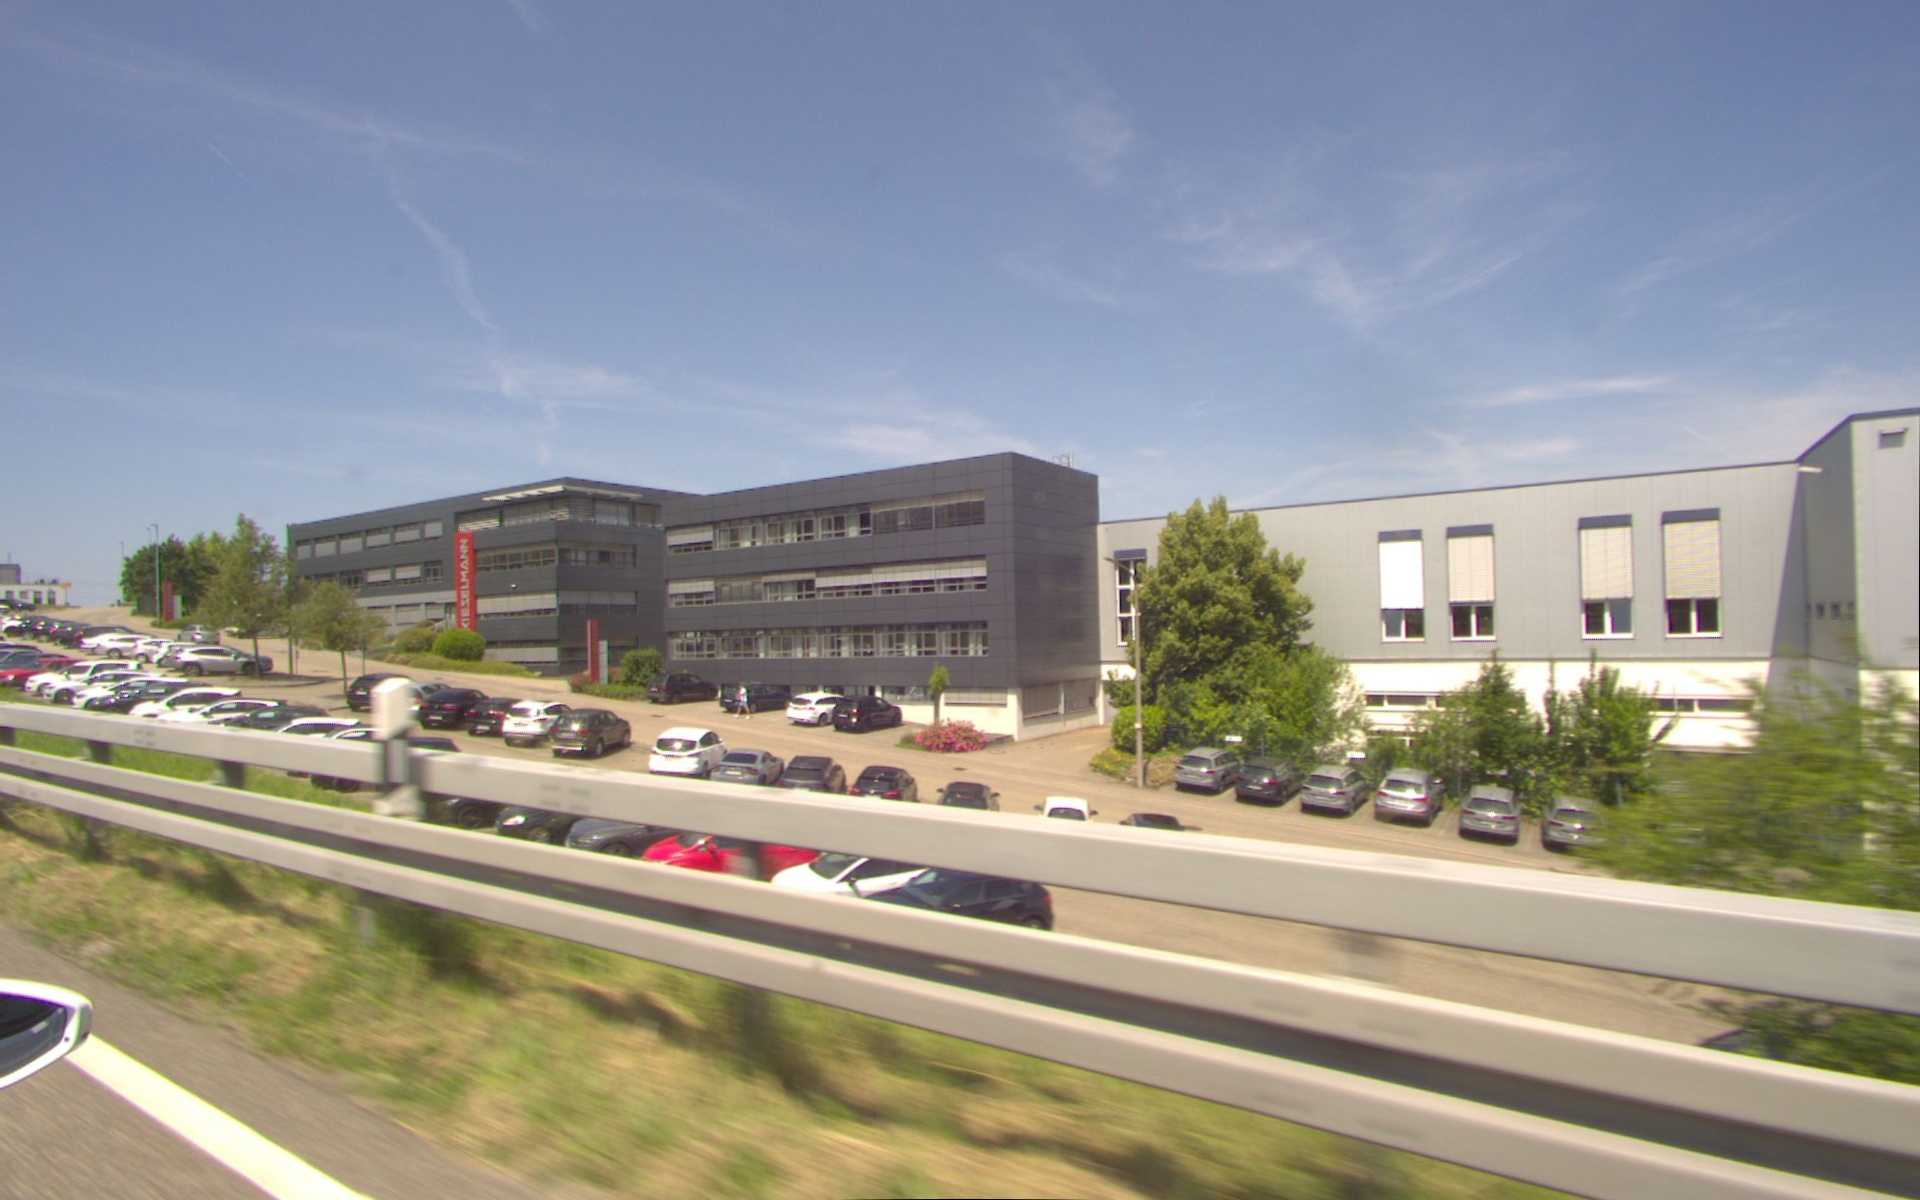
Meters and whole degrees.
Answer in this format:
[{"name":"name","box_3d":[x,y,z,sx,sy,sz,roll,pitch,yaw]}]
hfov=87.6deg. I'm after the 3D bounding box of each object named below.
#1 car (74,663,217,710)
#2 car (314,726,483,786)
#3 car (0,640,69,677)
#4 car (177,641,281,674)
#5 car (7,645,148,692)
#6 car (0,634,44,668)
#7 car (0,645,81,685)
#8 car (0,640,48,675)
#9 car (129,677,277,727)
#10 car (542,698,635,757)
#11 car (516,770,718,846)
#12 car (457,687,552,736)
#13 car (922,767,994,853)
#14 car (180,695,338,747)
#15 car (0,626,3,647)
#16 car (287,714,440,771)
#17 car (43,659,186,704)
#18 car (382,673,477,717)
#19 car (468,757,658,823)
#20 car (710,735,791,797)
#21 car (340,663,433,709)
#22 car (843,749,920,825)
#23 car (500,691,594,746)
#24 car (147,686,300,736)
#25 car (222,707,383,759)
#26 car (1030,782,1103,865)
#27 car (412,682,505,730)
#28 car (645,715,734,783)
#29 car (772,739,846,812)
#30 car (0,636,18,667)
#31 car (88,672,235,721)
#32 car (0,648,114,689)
[{"name":"car","box_3d":[-34.066,3.649,42.054,4.323,1.577,1.877,8,-5,-32]},{"name":"car","box_3d":[-17.188,4.811,30.767,4.324,1.508,1.701,8,-5,-32]},{"name":"car","box_3d":[-47.970,2.971,50.651,1.852,1.705,4.382,5,-4,-2]},{"name":"car","box_3d":[-41.027,3.235,56.306,4.523,1.651,1.810,2,1,-31]},{"name":"car","box_3d":[-39.905,3.132,45.441,4.408,1.705,1.876,8,-5,-34]},{"name":"car","box_3d":[-52.723,2.711,54.224,1.852,1.705,4.383,4,-4,6]},{"name":"car","box_3d":[-45.307,3.116,48.302,1.852,1.705,4.382,5,-4,-2]},{"name":"car","box_3d":[-50.547,2.966,52.233,1.852,1.705,4.382,5,-4,-2]},{"name":"car","box_3d":[-29.459,3.994,39.155,4.323,1.577,1.851,8,-5,-32]},{"name":"car","box_3d":[-14.570,4.970,39.580,1.756,1.681,4.587,5,-1,2]},{"name":"car","box_3d":[-9.009,5.478,26.416,4.664,1.582,1.950,7,-5,-30]},{"name":"car","box_3d":[-19.532,4.754,43.147,1.785,1.533,4.587,5,-1,2]},{"name":"car","box_3d":[0.021,6.164,29.857,1.756,1.560,4.412,5,-1,3]},{"name":"car","box_3d":[-24.930,4.350,35.837,4.318,1.473,1.810,7,-4,-29]},{"name":"car","box_3d":[-58.243,2.156,57.543,1.852,1.705,4.383,4,-4,6]},{"name":"car","box_3d":[-19.408,4.663,32.677,4.076,1.536,1.669,8,-5,-32]},{"name":"car","box_3d":[-36.945,3.570,43.911,4.315,1.577,1.880,7,-4,-27]},{"name":"car","box_3d":[-24.623,4.370,46.694,1.785,1.559,4.587,5,-1,2]},{"name":"car","box_3d":[-11.155,5.379,28.262,4.664,1.505,1.904,7,-5,-30]},{"name":"car","box_3d":[-7.228,5.729,34.939,1.756,1.396,4.160,5,-1,2]},{"name":"car","box_3d":[-27.237,4.051,47.724,1.785,1.650,4.240,5,1,2]},{"name":"car","box_3d":[-2.421,5.904,32.058,1.756,1.556,4.412,5,-1,3]},{"name":"car","box_3d":[-16.997,4.846,41.465,1.785,1.681,4.587,5,-1,2]},{"name":"car","box_3d":[-27.334,4.151,37.350,4.323,1.473,1.808,8,-5,-32]},{"name":"car","box_3d":[-22.229,4.528,34.077,4.318,1.411,1.810,7,-4,-29]},{"name":"car","box_3d":[3.026,6.426,29.233,1.756,1.623,4.417,5,-4,3]},{"name":"car","box_3d":[-21.947,4.606,44.043,1.785,1.533,4.587,5,-1,-1]},{"name":"car","box_3d":[-9.680,5.306,36.210,1.756,1.681,4.587,5,-1,2]},{"name":"car","box_3d":[-4.930,5.748,33.234,1.756,1.530,4.411,5,-1,-2]},{"name":"car","box_3d":[-55.424,2.755,55.542,1.852,1.705,4.383,4,-4,6]},{"name":"car","box_3d":[-32.116,3.918,40.452,4.323,1.577,1.877,8,-5,-32]},{"name":"car","box_3d":[-42.838,3.258,47.051,1.852,1.705,4.381,4,-4,13]}]
